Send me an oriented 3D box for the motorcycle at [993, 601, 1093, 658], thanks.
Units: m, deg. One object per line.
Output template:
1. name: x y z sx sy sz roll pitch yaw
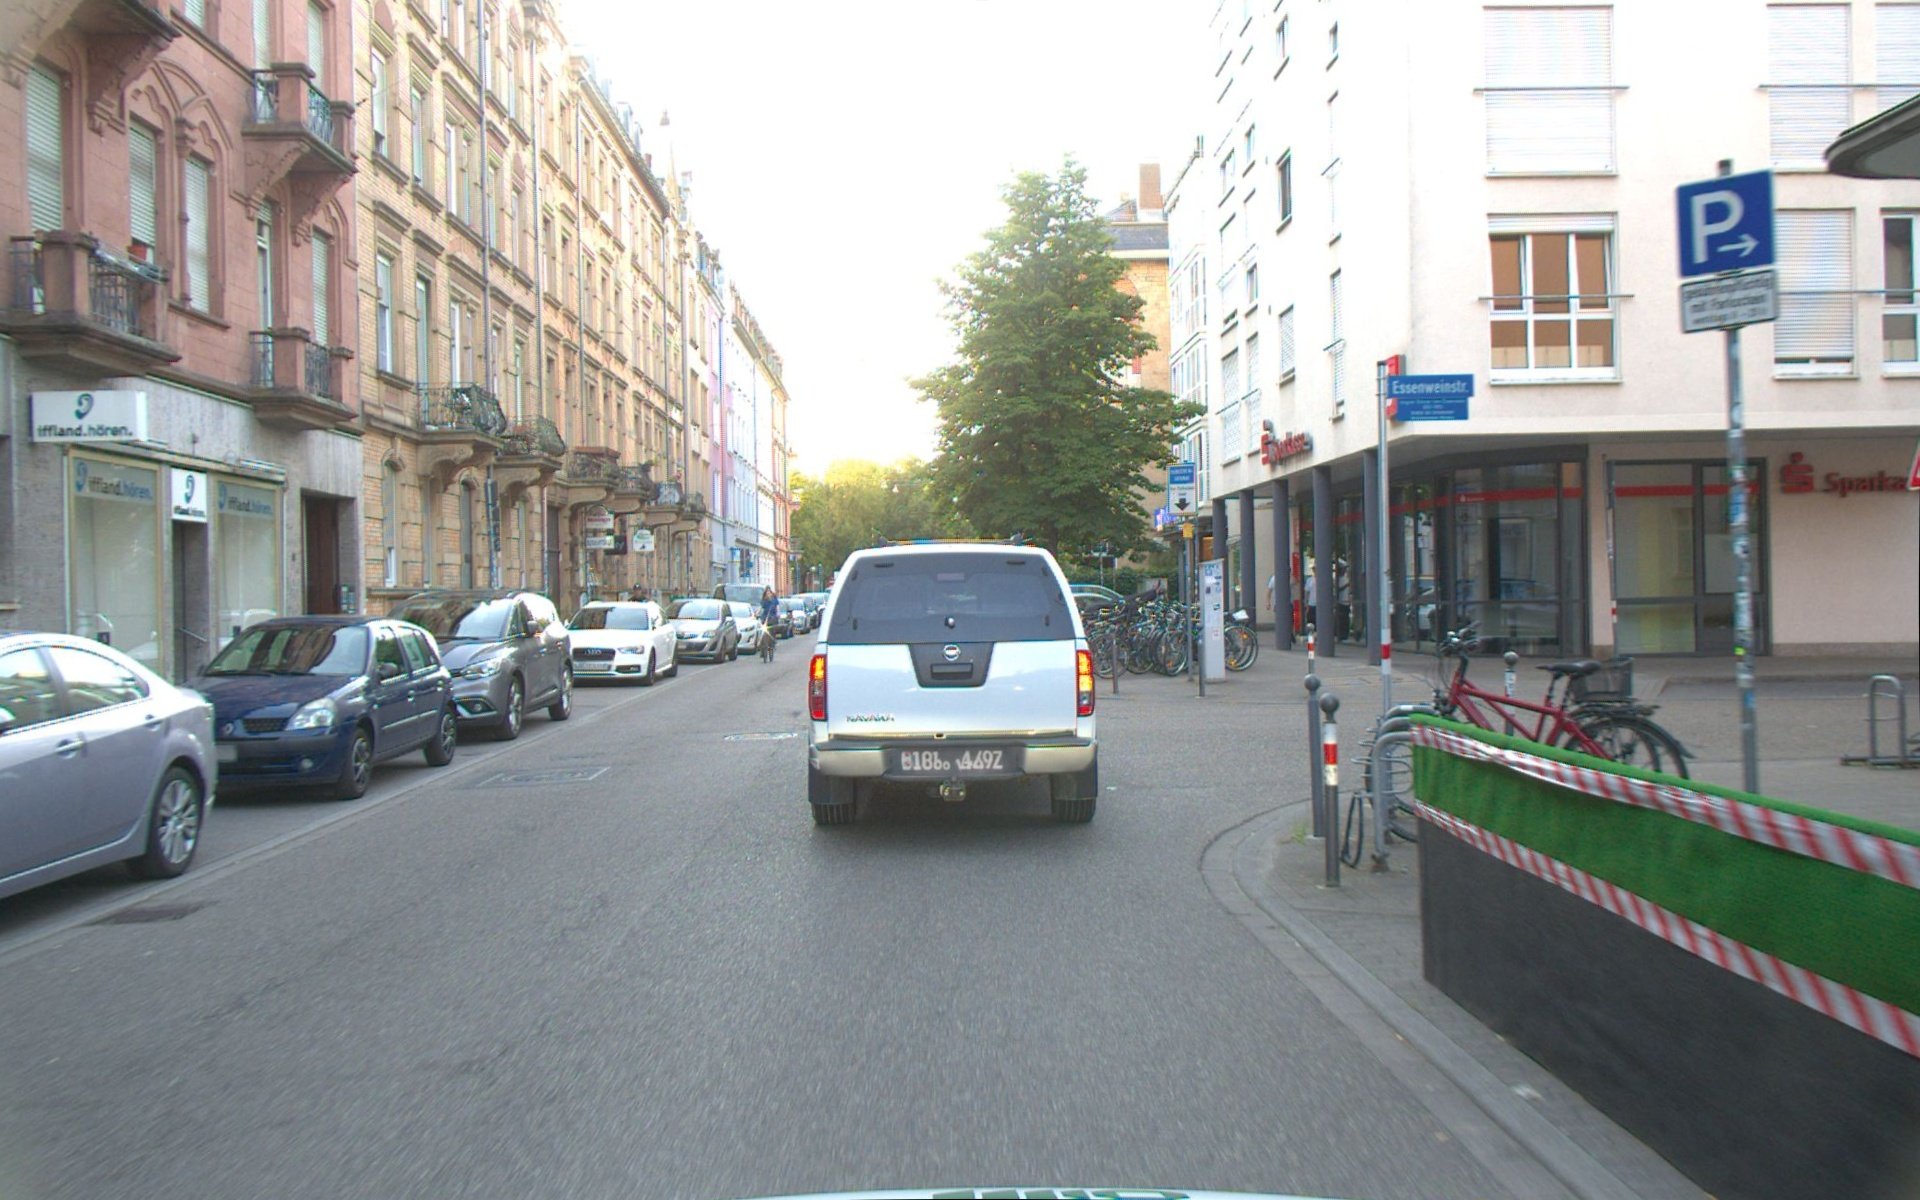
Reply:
1. motorcycle: 1.810 0.639 36.108 2.025 1.097 0.660 -3 0 -18

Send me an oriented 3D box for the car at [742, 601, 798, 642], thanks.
1. car: -7.083 0.798 62.086 1.702 1.443 4.776 0 -1 -2

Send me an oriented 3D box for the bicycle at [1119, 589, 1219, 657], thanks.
1. bicycle: 3.851 0.425 30.552 1.689 1.137 0.653 -3 0 -5

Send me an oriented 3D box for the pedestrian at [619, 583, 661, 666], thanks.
1. pedestrian: -7.041 0.543 36.449 0.542 1.786 1.023 -1 -1 12

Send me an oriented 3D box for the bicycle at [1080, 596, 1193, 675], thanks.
1. bicycle: 2.803 0.559 26.432 1.687 1.137 0.707 -3 0 1

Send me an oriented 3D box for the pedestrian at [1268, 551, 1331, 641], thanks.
1. pedestrian: 6.838 -0.079 33.336 0.770 1.753 0.898 -5 2 -45

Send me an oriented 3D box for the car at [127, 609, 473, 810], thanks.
1. car: -5.527 0.839 14.346 1.553 1.445 3.696 0 1 -1

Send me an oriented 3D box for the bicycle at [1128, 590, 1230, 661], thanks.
1. bicycle: 3.893 0.448 29.471 1.687 1.137 0.654 -3 0 1

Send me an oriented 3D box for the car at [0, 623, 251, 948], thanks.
1. car: -5.235 0.866 8.083 1.688 1.445 4.580 0 0 -2

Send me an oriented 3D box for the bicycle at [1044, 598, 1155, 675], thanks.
1. bicycle: 2.285 0.595 27.275 1.688 1.137 0.706 -3 0 -4

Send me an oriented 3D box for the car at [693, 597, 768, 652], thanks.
1. car: -6.462 0.664 47.012 1.748 1.447 4.482 1 0 -4

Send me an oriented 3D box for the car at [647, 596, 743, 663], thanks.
1. car: -6.275 0.672 39.532 1.682 1.483 4.000 0 0 -1

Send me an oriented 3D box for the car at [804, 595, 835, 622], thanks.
1. car: -8.690 0.526 102.473 1.664 1.649 4.020 0 0 -2

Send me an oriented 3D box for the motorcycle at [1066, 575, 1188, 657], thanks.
1. motorcycle: 3.539 0.338 35.265 2.441 1.576 0.824 -4 -1 1

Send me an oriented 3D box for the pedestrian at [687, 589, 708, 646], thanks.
1. pedestrian: -8.483 0.553 53.513 0.593 1.803 0.776 1 1 -6

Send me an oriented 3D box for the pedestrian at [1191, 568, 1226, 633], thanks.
1. pedestrian: 6.939 0.024 46.184 0.713 1.746 0.963 -3 0 -2

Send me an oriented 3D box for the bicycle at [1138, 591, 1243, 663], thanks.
1. bicycle: 4.015 0.463 28.905 1.687 1.137 0.654 -3 0 1

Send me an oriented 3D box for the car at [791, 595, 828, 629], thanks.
1. car: -7.871 0.606 86.850 1.808 1.688 4.248 -2 0 -5

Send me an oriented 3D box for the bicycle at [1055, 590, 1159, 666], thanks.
1. bicycle: 2.695 0.505 30.243 1.751 1.202 0.734 -5 -1 9

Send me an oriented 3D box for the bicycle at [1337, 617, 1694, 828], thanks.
1. bicycle: 3.354 0.737 10.081 1.906 1.154 0.655 -4 -1 36

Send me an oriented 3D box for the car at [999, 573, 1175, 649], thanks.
1. car: 3.263 0.268 43.029 4.311 1.676 1.745 -4 0 -2

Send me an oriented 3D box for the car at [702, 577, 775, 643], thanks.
1. car: -6.943 0.298 52.242 1.954 1.957 4.947 1 0 -4

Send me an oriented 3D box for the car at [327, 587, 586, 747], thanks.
1. car: -5.791 0.681 19.598 1.815 1.662 4.444 0 1 -2

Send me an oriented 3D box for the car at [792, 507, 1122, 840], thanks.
1. car: 0.061 0.415 12.042 1.871 1.885 5.271 0 0 2

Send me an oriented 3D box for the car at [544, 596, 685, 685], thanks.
1. car: -6.146 0.677 29.908 1.722 1.436 4.507 0 1 -2

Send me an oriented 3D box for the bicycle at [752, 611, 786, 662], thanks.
1. bicycle: -4.522 0.850 39.250 0.632 1.099 2.167 -3 0 -4

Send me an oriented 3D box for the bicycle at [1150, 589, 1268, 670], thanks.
1. bicycle: 3.926 0.458 26.046 1.693 1.151 0.577 -3 0 -14

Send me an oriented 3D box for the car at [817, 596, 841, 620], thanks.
1. car: -9.069 0.546 114.649 1.665 1.579 4.018 0 0 -4

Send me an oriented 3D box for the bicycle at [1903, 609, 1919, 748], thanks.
1. bicycle: 7.700 0.590 12.080 0.551 1.085 1.964 -2 -1 3

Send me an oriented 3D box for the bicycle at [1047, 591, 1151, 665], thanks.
1. bicycle: 2.605 0.520 31.083 1.831 1.202 0.743 -5 -1 3

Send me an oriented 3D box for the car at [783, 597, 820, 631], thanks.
1. car: -7.674 0.663 80.201 1.603 1.593 3.779 0 0 -3

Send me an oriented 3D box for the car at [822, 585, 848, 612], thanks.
1. car: -9.318 -0.113 122.794 1.776 2.011 4.181 0 0 -6

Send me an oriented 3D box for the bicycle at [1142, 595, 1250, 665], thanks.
1. bicycle: 3.948 0.498 27.745 1.687 1.072 0.654 -3 0 1

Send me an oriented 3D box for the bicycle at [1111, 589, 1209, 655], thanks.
1. bicycle: 3.777 0.417 31.271 1.689 1.137 0.653 -3 0 -5

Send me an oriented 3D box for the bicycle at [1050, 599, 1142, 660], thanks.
1. bicycle: 2.710 0.588 33.076 1.736 1.040 0.565 -5 -1 1

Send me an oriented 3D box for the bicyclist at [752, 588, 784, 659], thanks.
1. bicyclist: -4.542 0.549 39.261 0.632 1.649 0.917 -3 0 -4

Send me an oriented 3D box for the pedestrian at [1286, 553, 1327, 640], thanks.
1. pedestrian: 7.181 -0.076 34.274 0.649 1.753 0.662 -2 2 25

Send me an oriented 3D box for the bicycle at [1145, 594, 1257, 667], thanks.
1. bicycle: 3.932 0.498 27.072 1.687 1.072 0.654 -3 0 1

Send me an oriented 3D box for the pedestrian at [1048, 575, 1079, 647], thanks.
1. pedestrian: 2.597 0.271 41.519 0.615 1.784 0.586 0 -1 -13

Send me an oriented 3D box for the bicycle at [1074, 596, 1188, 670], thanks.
1. bicycle: 2.899 0.555 28.091 1.773 1.137 0.706 -3 0 -4

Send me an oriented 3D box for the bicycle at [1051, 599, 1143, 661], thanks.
1. bicycle: 2.676 0.591 32.457 1.684 1.049 0.667 -5 -1 1

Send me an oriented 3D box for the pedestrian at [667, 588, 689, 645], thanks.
1. pedestrian: -9.070 0.530 53.202 0.569 1.802 0.996 1 1 -6

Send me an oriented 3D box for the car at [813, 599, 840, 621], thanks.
1. car: -8.759 0.639 108.731 1.665 1.451 4.018 0 0 -4

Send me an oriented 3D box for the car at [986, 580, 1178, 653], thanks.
1. car: 2.935 0.385 40.253 4.341 1.480 1.776 -4 0 -8

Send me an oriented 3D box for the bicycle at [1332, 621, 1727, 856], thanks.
1. bicycle: 3.109 0.750 9.130 1.906 1.154 0.655 -4 -1 36

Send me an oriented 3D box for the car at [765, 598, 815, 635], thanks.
1. car: -7.294 0.695 71.190 1.797 1.483 4.205 1 0 -2
